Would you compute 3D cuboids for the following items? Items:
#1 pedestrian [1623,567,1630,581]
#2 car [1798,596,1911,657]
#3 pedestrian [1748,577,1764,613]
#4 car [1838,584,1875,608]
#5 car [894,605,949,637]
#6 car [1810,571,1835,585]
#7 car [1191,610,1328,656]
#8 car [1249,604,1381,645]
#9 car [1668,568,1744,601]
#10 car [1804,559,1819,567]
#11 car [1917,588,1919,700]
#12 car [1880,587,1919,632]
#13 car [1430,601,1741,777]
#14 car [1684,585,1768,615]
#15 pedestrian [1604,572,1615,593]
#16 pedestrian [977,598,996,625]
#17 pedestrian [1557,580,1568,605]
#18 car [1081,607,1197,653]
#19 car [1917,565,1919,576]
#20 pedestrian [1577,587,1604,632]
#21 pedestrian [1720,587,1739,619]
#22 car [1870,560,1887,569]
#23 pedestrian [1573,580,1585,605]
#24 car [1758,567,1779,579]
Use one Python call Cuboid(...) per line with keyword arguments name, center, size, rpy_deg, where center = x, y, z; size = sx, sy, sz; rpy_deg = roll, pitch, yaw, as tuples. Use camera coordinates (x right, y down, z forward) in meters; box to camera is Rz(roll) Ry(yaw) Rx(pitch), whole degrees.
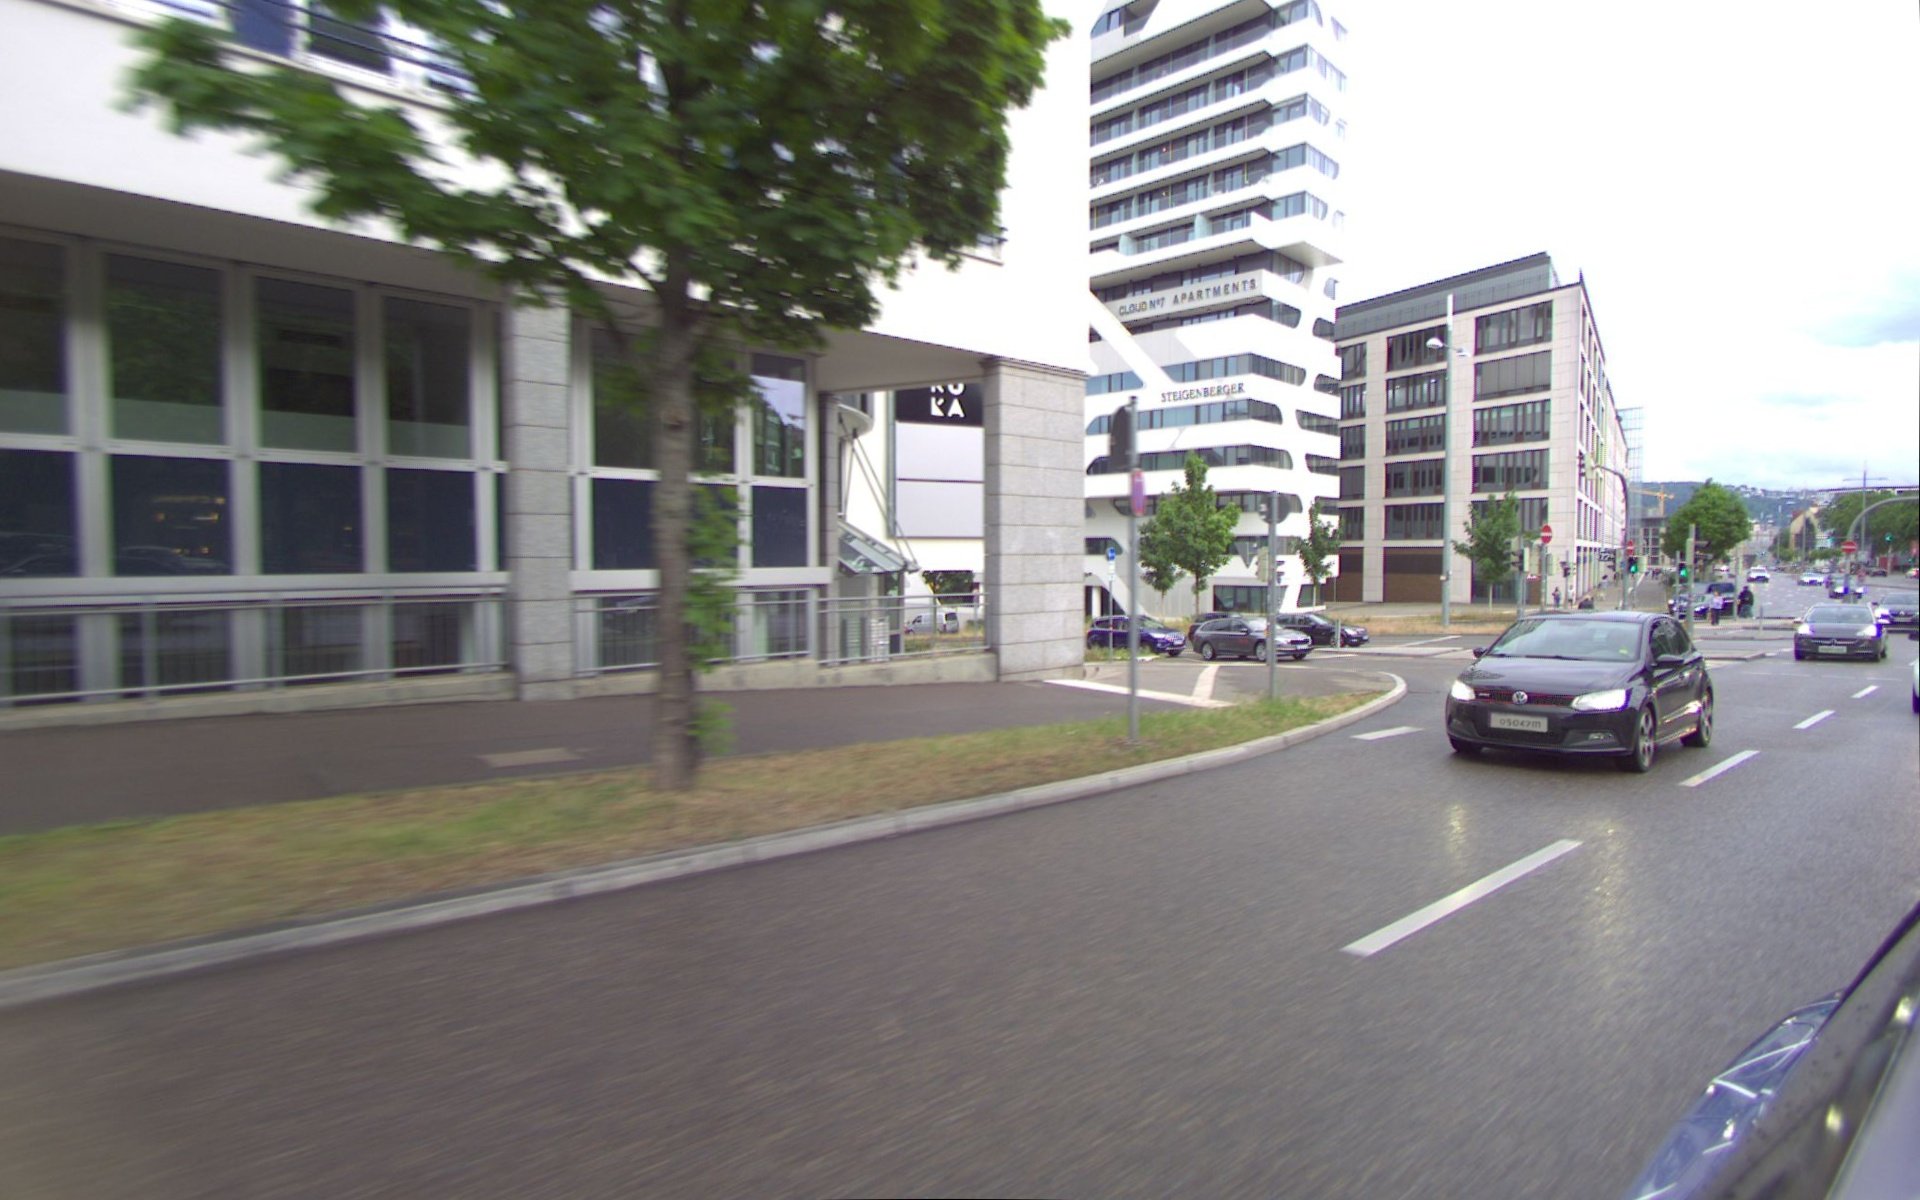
Cuboid(name="pedestrian", center=(71.239, -2.731, 108.126), size=(0.584, 1.496, 0.597), rpy_deg=(-1, 0, 35))
Cuboid(name="car", center=(23.562, 0.638, 26.618), size=(3.642, 1.459, 1.749), rpy_deg=(-1, 0, -41))
Cuboid(name="pedestrian", center=(41.243, -0.272, 52.419), size=(0.601, 1.825, 0.579), rpy_deg=(-1, 0, 40))
Cuboid(name="car", center=(74.154, -0.340, 83.761), size=(1.788, 1.970, 3.950), rpy_deg=(-1, 0, 35))
Cuboid(name="car", center=(-3.182, 1.676, 82.077), size=(4.481, 2.409, 1.773), rpy_deg=(0, 1, 42))
Cuboid(name="car", center=(100.275, -2.556, 117.688), size=(1.788, 1.529, 3.950), rpy_deg=(0, 0, 35))
Cuboid(name="car", center=(9.938, 1.093, 33.975), size=(1.819, 1.408, 4.491), rpy_deg=(-1, -1, -26))
Cuboid(name="car", center=(13.670, 0.965, 39.146), size=(1.827, 1.408, 4.472), rpy_deg=(-3, 0, -44))
Cuboid(name="car", center=(44.592, -0.942, 60.489), size=(4.203, 1.885, 1.803), rpy_deg=(-1, 0, -24))
Cuboid(name="car", center=(163.769, -7.131, 194.647), size=(1.788, 1.529, 3.950), rpy_deg=(0, 0, 35))
Cuboid(name="car", center=(15.359, 0.619, 14.722), size=(3.932, 1.556, 1.797), rpy_deg=(0, 1, -42))
Cuboid(name="car", center=(37.940, 0.335, 40.060), size=(3.930, 1.687, 1.797), rpy_deg=(-1, 0, -41))
Cuboid(name="car", center=(6.468, 0.740, 10.305), size=(3.782, 1.417, 1.676), rpy_deg=(-1, 1, -41))
Cuboid(name="car", center=(41.717, -0.011, 55.113), size=(3.916, 1.529, 1.804), rpy_deg=(-1, 0, -20))
Cuboid(name="pedestrian", center=(48.227, -1.287, 75.156), size=(0.582, 1.496, 0.599), rpy_deg=(-1, 0, 27))
Cuboid(name="pedestrian", center=(2.097, 0.907, 79.239), size=(1.091, 2.039, 0.958), rpy_deg=(0, 0, 42))
Cuboid(name="pedestrian", center=(39.604, -0.509, 66.511), size=(0.583, 1.630, 0.597), rpy_deg=(-1, 0, 34))
Cuboid(name="car", center=(6.957, 1.183, 39.776), size=(1.821, 1.689, 4.483), rpy_deg=(0, -2, -35))
Cuboid(name="car", center=(145.059, -4.443, 151.651), size=(1.788, 1.529, 3.950), rpy_deg=(0, 0, 35))
Cuboid(name="pedestrian", center=(23.589, 0.338, 37.861), size=(0.633, 1.645, 0.707), rpy_deg=(-1, 0, -41))
Cuboid(name="pedestrian", center=(35.460, 0.134, 46.652), size=(0.582, 1.496, 0.599), rpy_deg=(-1, 0, 27))
Cuboid(name="car", center=(160.176, -6.144, 176.490), size=(1.788, 1.529, 3.950), rpy_deg=(0, 0, 35))
Cuboid(name="pedestrian", center=(40.237, -0.475, 65.774), size=(0.583, 1.630, 0.597), rpy_deg=(-1, 0, 34))
Cuboid(name="car", center=(103.515, -3.432, 129.588), size=(1.788, 1.529, 3.950), rpy_deg=(-1, 0, 35))
